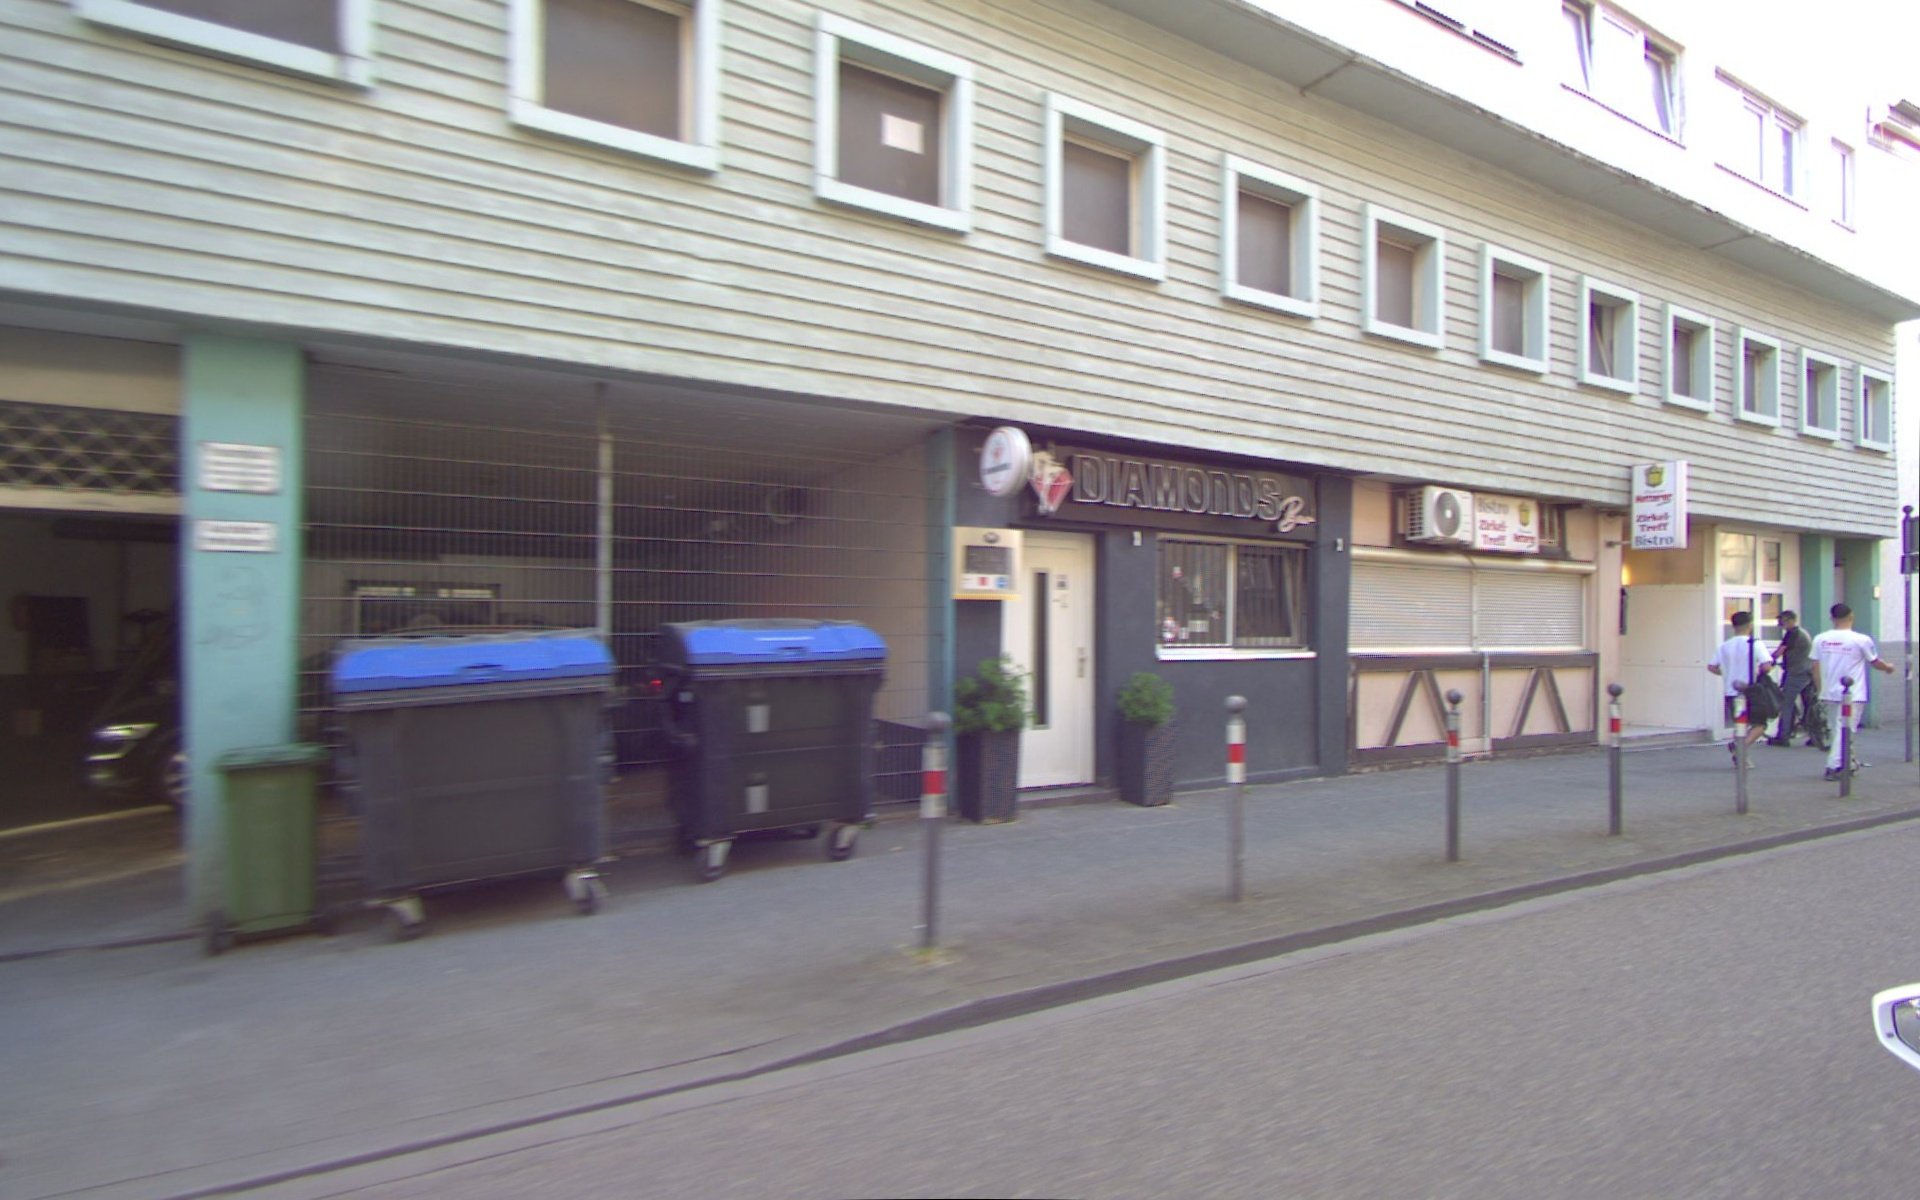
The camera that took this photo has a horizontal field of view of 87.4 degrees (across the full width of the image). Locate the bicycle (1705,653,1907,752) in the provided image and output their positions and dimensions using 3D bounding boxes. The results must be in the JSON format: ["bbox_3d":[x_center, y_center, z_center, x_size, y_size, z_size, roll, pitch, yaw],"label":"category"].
[{"bbox_3d":[11.402,1.340,13.654,0.808,1.178,2.134,0,-2,-6],"label":"bicycle"}]

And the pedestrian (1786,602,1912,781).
[{"bbox_3d":[9.165,0.919,10.365,0.819,1.757,0.695,1,-3,-28],"label":"pedestrian"}]

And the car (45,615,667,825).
[{"bbox_3d":[-5.242,0.942,9.364,4.548,1.555,1.754,1,-1,-31],"label":"car"}]

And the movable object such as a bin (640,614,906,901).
[{"bbox_3d":[-1.185,0.866,6.247,1.326,1.540,1.117,0,-1,-31],"label":"movable object such as a bin"}]

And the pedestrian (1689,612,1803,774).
[{"bbox_3d":[8.643,0.994,11.052,0.883,1.691,0.670,1,-2,-29],"label":"pedestrian"}]

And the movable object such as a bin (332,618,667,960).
[{"bbox_3d":[-2.391,0.853,5.247,1.457,1.491,0.964,-1,-1,-31],"label":"movable object such as a bin"}]

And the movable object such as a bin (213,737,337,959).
[{"bbox_3d":[-3.326,1.178,4.902,0.462,0.954,0.391,1,-1,-31],"label":"movable object such as a bin"}]

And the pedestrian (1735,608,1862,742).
[{"bbox_3d":[11.401,0.995,13.694,0.787,1.751,1.080,0,-1,-6],"label":"pedestrian"}]
